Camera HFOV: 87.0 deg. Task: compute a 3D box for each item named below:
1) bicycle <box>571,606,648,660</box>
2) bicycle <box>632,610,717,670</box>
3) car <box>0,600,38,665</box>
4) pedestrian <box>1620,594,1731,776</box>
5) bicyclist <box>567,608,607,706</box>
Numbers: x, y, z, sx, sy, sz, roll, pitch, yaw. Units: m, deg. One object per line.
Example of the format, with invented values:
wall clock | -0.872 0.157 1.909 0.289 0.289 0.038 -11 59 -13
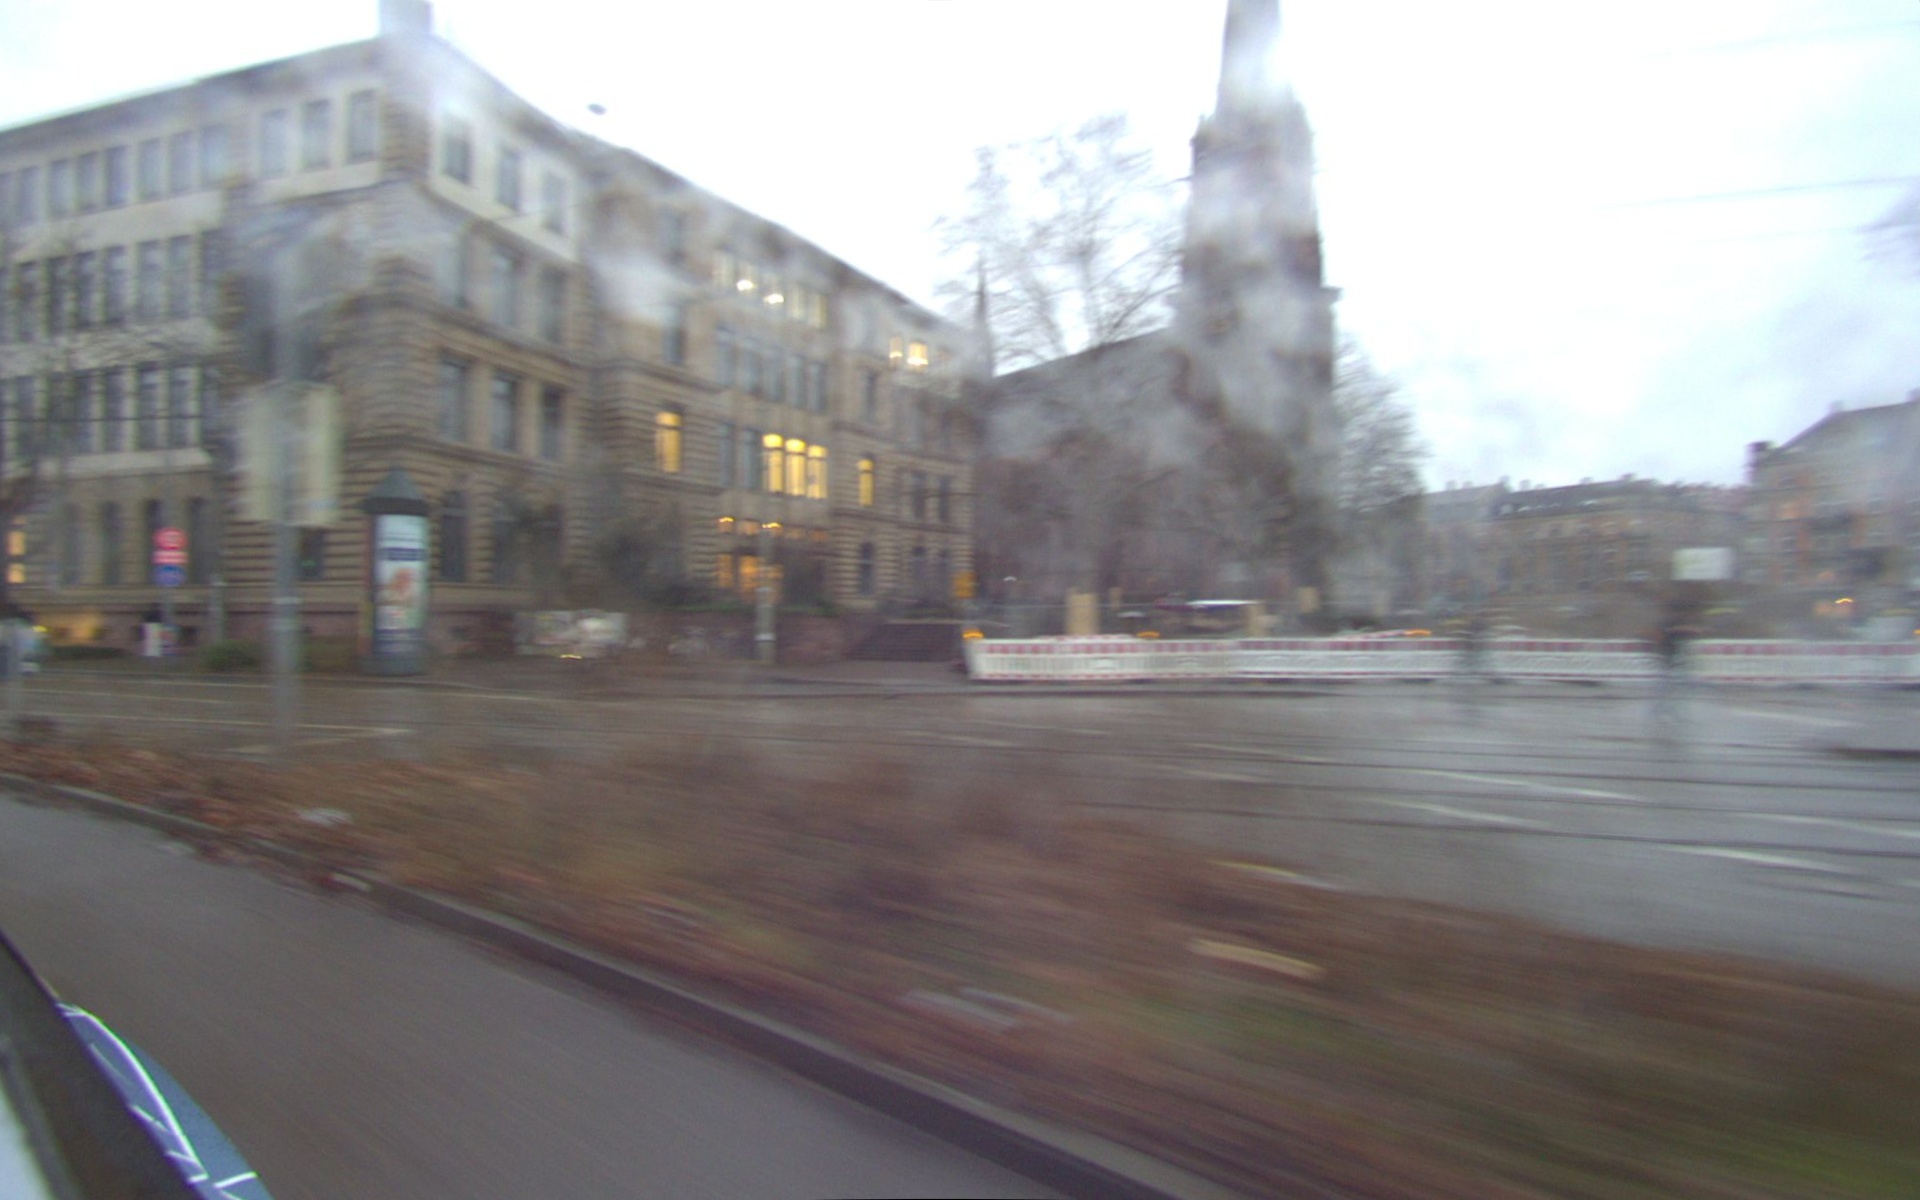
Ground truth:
bicycle | -11.728 1.093 33.888 2.387 1.701 0.716 -1 1 -21
bicycle | -8.634 1.180 30.599 2.387 1.701 0.716 -1 1 -21
car | -31.621 1.063 32.006 1.880 2.049 4.820 -1 1 -19
pedestrian | 9.972 1.126 14.117 0.981 2.388 1.066 -1 1 -41
bicyclist | -7.031 1.056 19.075 0.601 1.781 0.591 -1 1 -28
